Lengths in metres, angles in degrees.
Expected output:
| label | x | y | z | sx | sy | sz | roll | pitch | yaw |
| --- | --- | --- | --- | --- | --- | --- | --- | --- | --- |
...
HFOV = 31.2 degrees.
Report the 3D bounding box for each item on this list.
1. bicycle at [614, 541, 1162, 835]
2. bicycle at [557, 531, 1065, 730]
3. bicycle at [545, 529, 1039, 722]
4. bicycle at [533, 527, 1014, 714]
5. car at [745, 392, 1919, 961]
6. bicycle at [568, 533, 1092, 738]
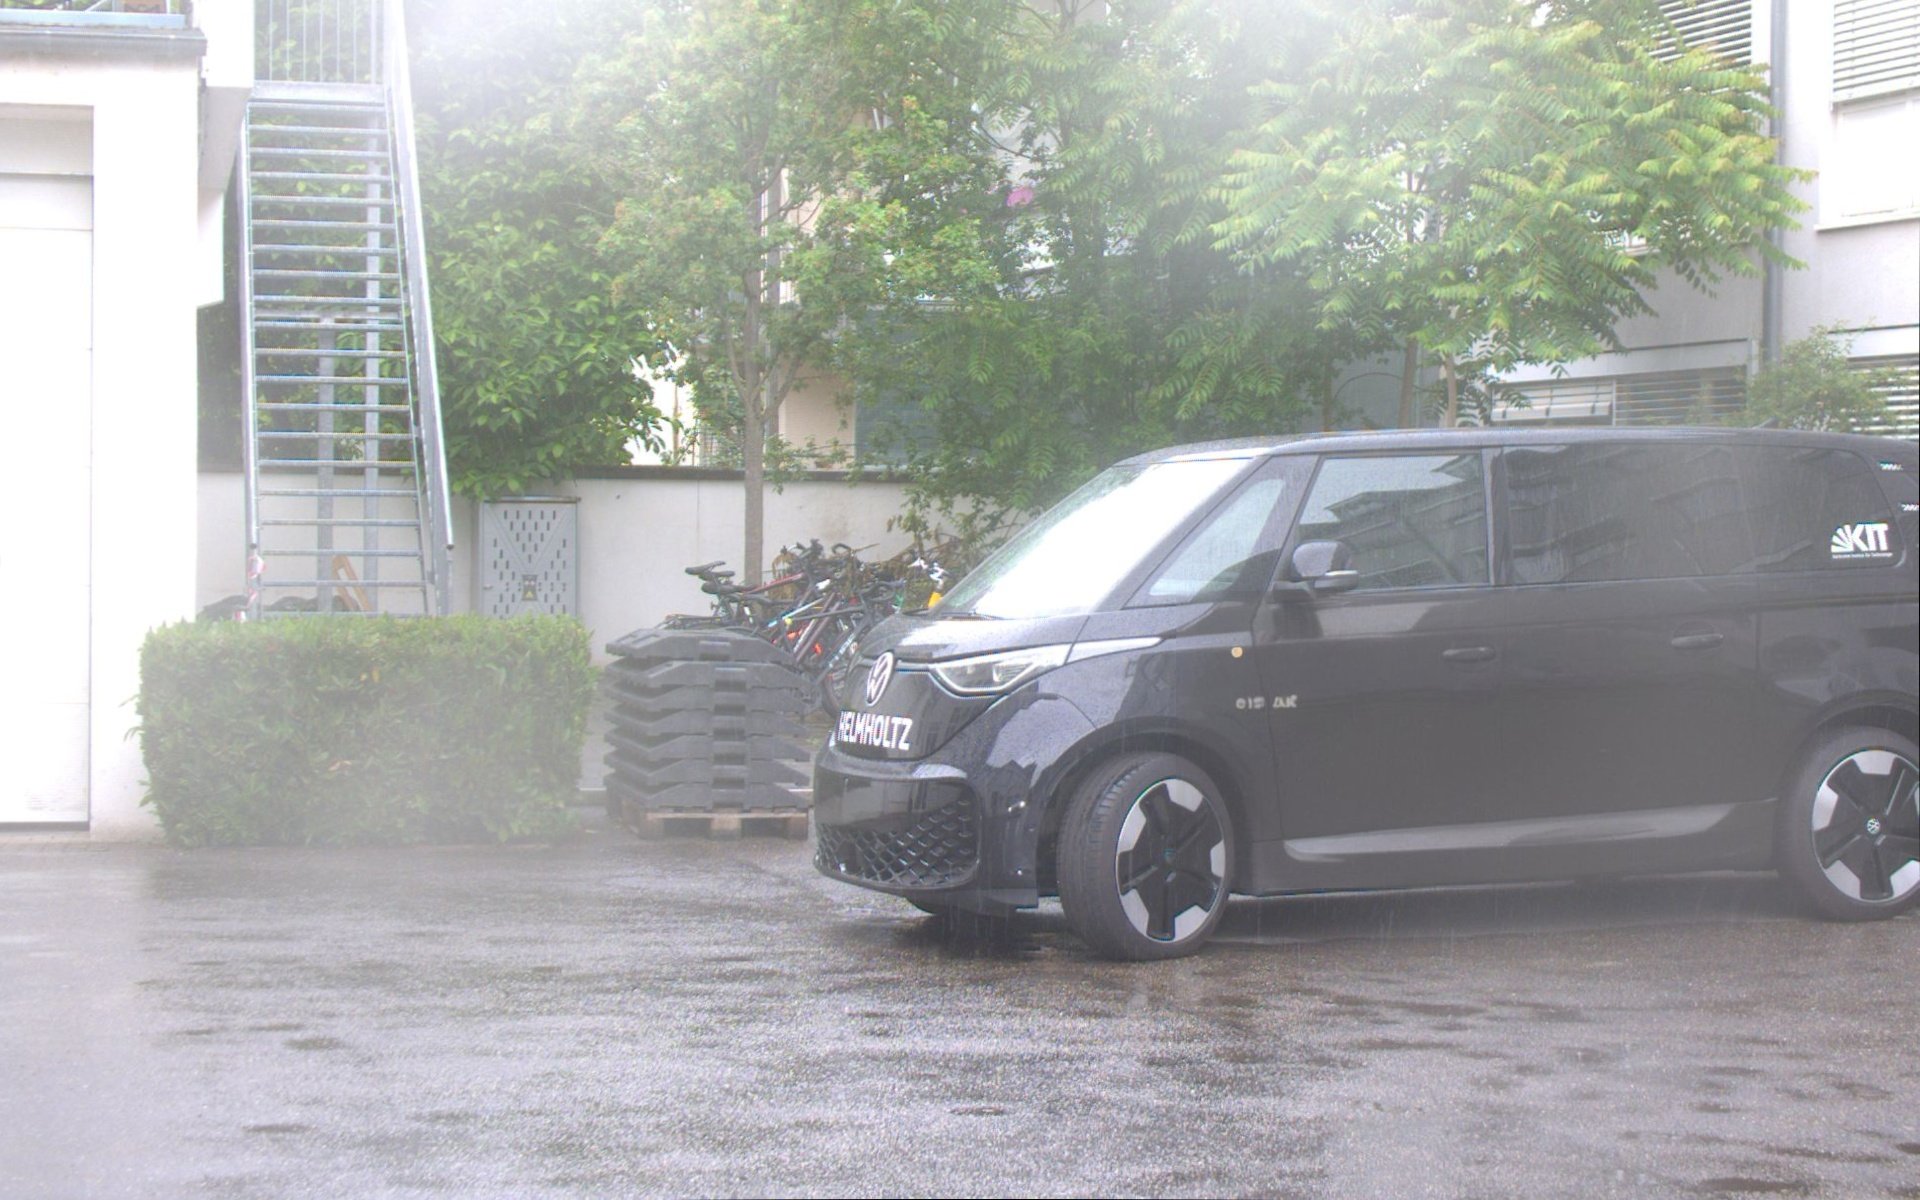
| label | x | y | z | sx | sy | sz | roll | pitch | yaw |
| --- | --- | --- | --- | --- | --- | --- | --- | --- | --- |
| bicycle | -0.421 | 0.502 | 20.548 | 3.213 | 1.697 | 0.631 | 0 | 1 | -16 |
| bicycle | -0.953 | 0.185 | 22.179 | 3.213 | 1.237 | 0.631 | 0 | 1 | -16 |
| bicycle | -1.107 | 0.159 | 22.834 | 3.213 | 1.237 | 0.631 | 0 | 1 | -16 |
| bicycle | -1.262 | 0.134 | 23.468 | 3.213 | 1.237 | 0.631 | 0 | 1 | -16 |
| car | 1.639 | 0.235 | 13.205 | 4.506 | 1.891 | 2.047 | 0 | 1 | -21 |
| bicycle | -0.800 | 0.212 | 21.496 | 3.213 | 1.237 | 0.631 | 0 | 1 | -16 |
